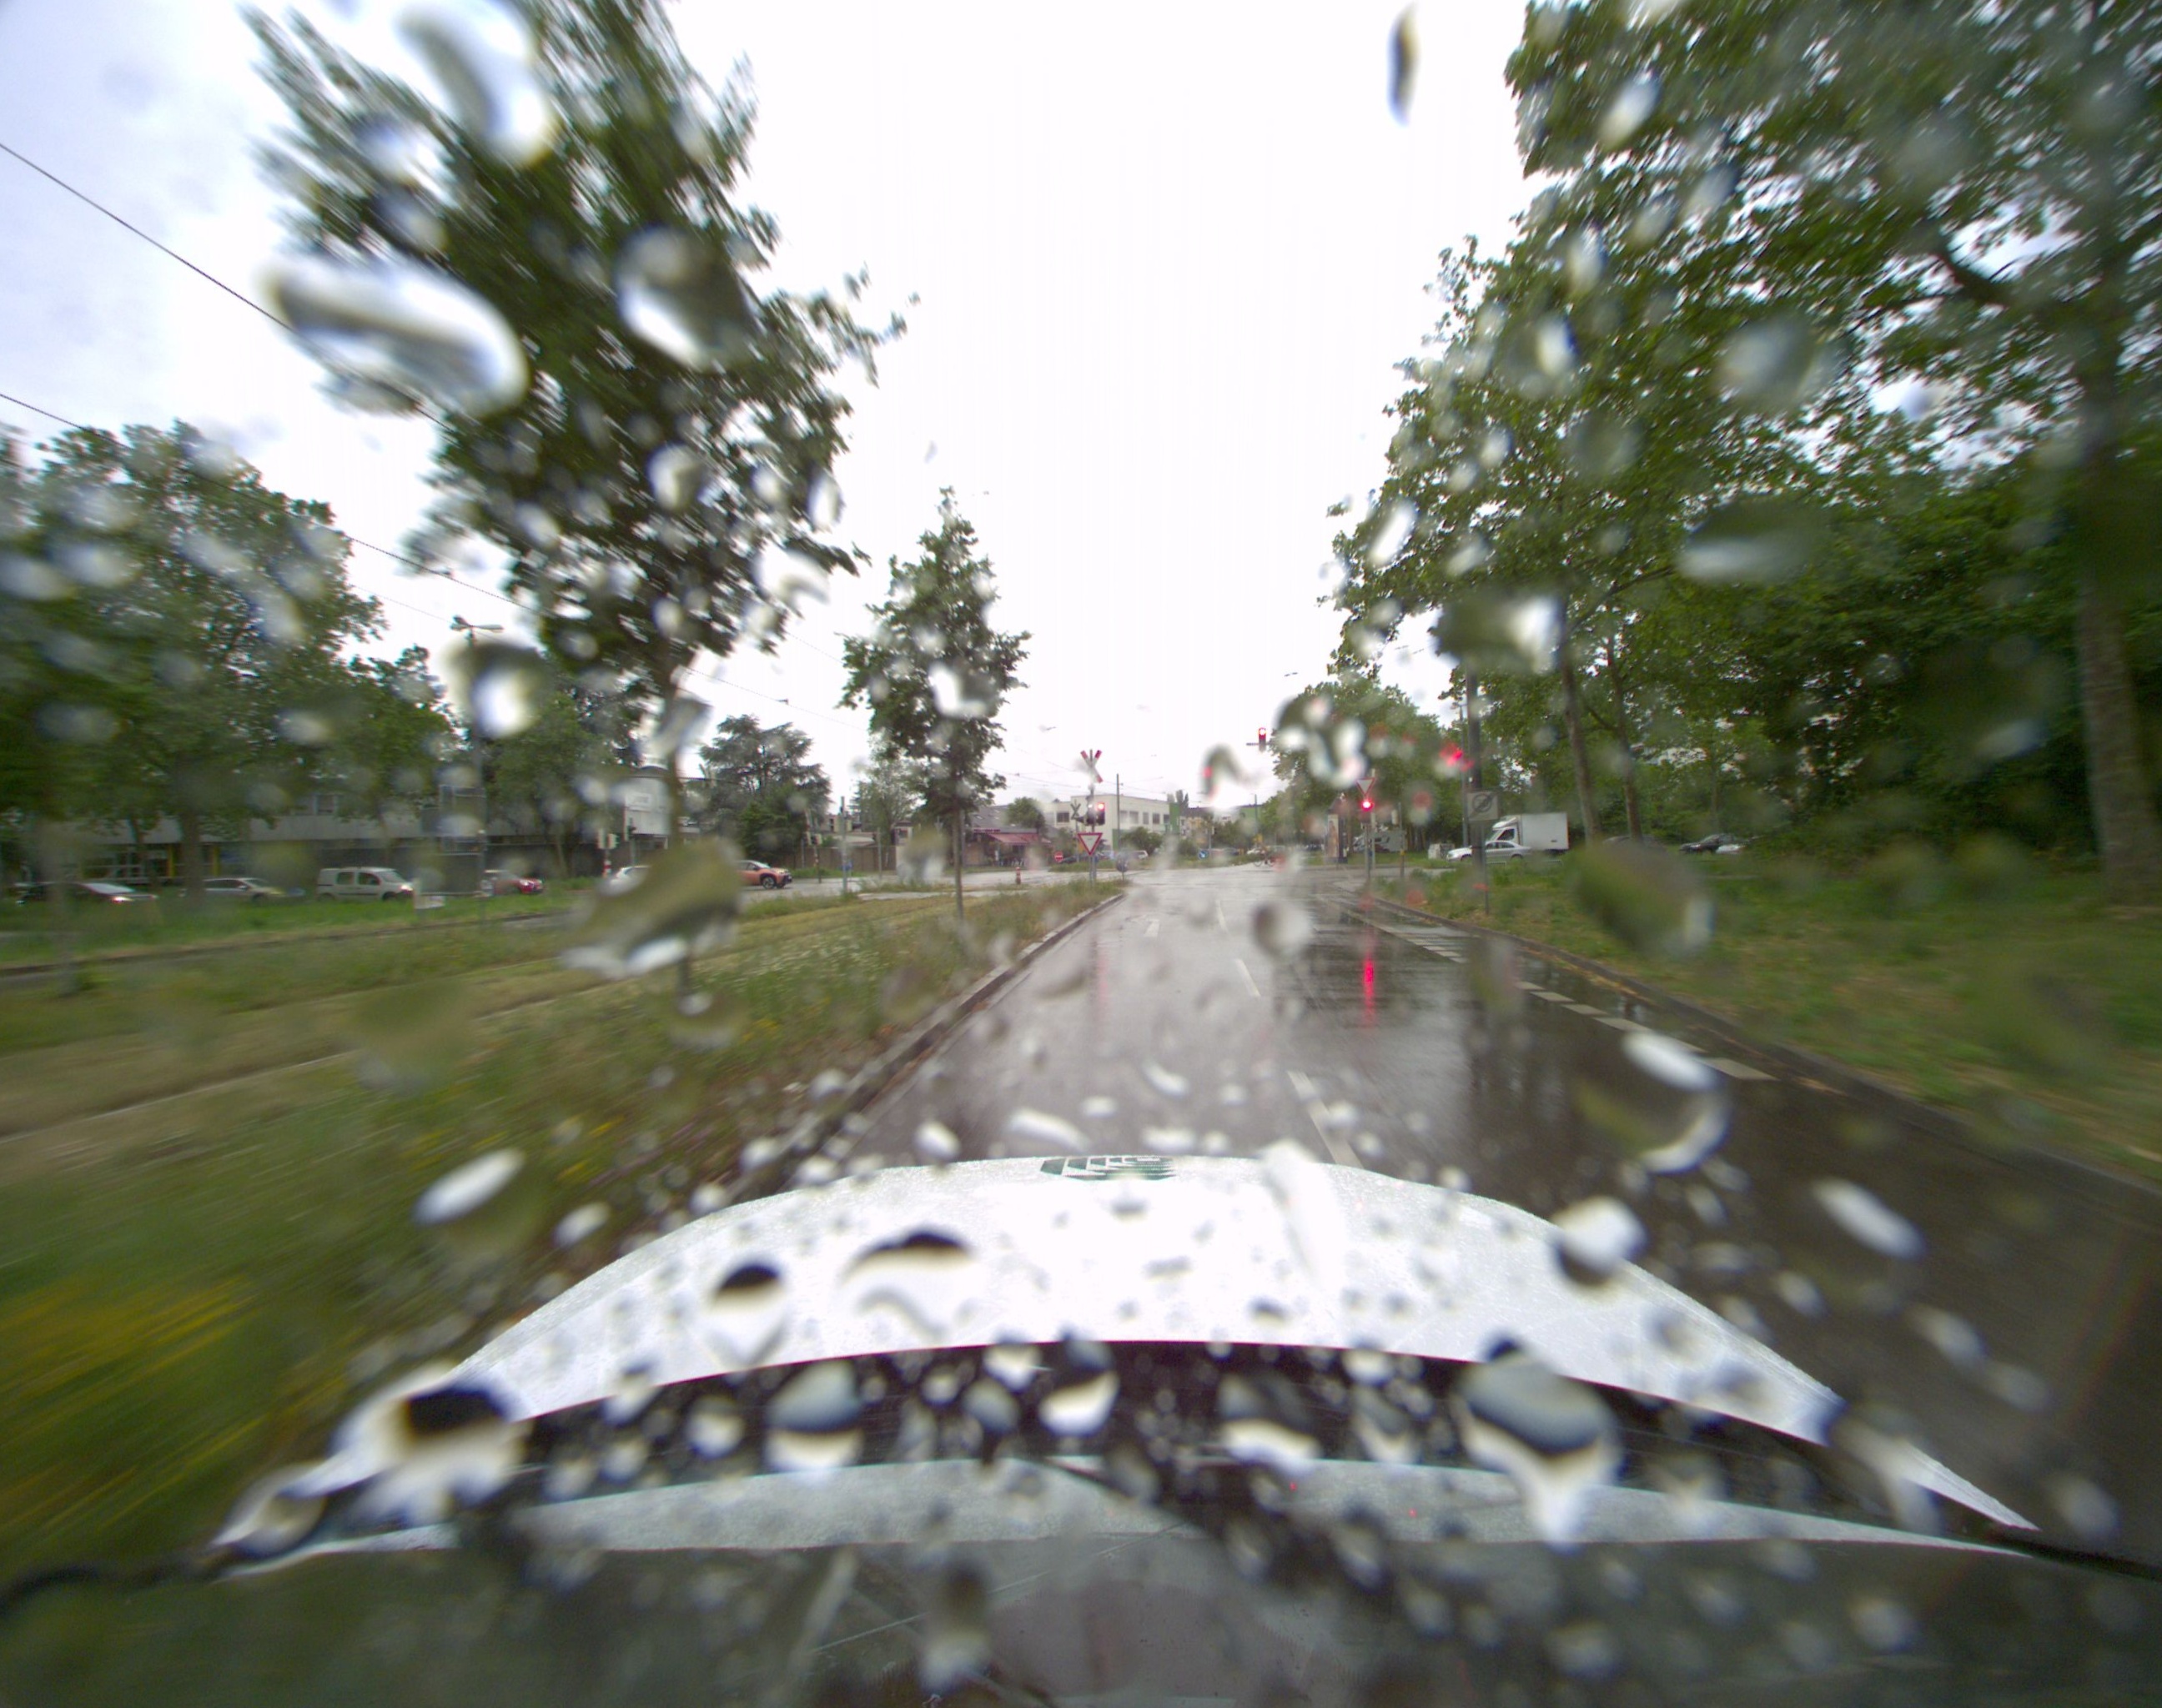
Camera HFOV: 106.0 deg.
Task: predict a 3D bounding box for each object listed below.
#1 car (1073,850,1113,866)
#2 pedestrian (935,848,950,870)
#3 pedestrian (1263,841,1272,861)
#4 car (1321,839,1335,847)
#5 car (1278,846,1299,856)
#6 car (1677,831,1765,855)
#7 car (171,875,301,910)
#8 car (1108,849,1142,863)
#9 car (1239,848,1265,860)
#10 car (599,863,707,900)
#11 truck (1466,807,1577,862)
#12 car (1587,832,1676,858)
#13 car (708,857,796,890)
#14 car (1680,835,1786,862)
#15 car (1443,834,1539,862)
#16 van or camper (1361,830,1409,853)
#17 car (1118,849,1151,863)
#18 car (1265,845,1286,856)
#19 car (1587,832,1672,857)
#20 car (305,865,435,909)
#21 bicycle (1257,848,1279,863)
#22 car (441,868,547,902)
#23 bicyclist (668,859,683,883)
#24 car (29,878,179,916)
[{"bbox_3d":[1.227,0.408,83.289,3.727,1.442,1.768,-2,0,10],"label":"car"},{"bbox_3d":[-11.441,0.414,67.231,0.807,1.763,0.899,-2,0,-37],"label":"pedestrian"},{"bbox_3d":[14.138,-0.203,61.730,0.573,1.475,0.500,-2,0,2],"label":"pedestrian"},{"bbox_3d":[68.715,-3.143,226.722,3.412,2.013,1.818,-2,0,24],"label":"car"},{"bbox_3d":[43.575,-0.644,170.999,4.105,1.860,1.680,-2,0,14],"label":"car"},{"bbox_3d":[40.376,-0.685,51.455,4.101,1.422,1.768,-2,0,5],"label":"car"},{"bbox_3d":[-41.064,1.860,39.658,4.348,1.455,1.649,-2,0,-5],"label":"car"},{"bbox_3d":[4.879,0.263,91.327,3.737,1.442,1.763,-2,0,1],"label":"car"},{"bbox_3d":[30.491,-0.001,145.273,4.118,1.860,1.675,-2,0,3],"label":"car"},{"bbox_3d":[-19.857,1.260,37.882,4.055,1.499,1.650,-2,0,-3],"label":"car"},{"bbox_3d":[26.193,-1.160,48.581,5.444,3.058,1.983,-2,0,3],"label":"truck"},{"bbox_3d":[32.259,-0.534,47.801,4.092,1.390,1.646,-2,0,3],"label":"car"},{"bbox_3d":[-16.808,0.977,41.734,3.808,1.499,1.650,-2,0,-3],"label":"car"},{"bbox_3d":[37.936,-0.322,47.446,4.641,1.422,1.767,-2,0,3],"label":"car"},{"bbox_3d":[22.942,-0.335,45.692,4.492,1.390,1.646,-2,0,3],"label":"car"},{"bbox_3d":[36.282,-1.465,97.060,5.172,2.697,2.256,0,1,25],"label":"van or camper"},{"bbox_3d":[6.170,0.204,94.484,3.737,1.442,1.763,-2,0,1],"label":"car"},{"bbox_3d":[38.762,-0.631,162.293,4.105,1.975,1.680,-2,0,14],"label":"car"},{"bbox_3d":[34.934,-0.595,51.970,4.179,1.422,1.769,-2,0,6],"label":"car"},{"bbox_3d":[-32.365,1.469,37.153,4.203,1.796,1.649,-2,1,-5],"label":"car"},{"bbox_3d":[14.185,0.127,61.733,1.555,1.101,0.500,-2,0,2],"label":"bicycle"},{"bbox_3d":[-29.383,1.533,40.865,3.905,1.498,1.648,-2,1,-8],"label":"car"},{"bbox_3d":[-30.014,1.256,60.315,0.681,1.683,0.642,-2,-1,3],"label":"bicyclist"},{"bbox_3d":[-43.360,1.890,36.213,4.348,1.455,1.649,-2,0,-5],"label":"car"}]
